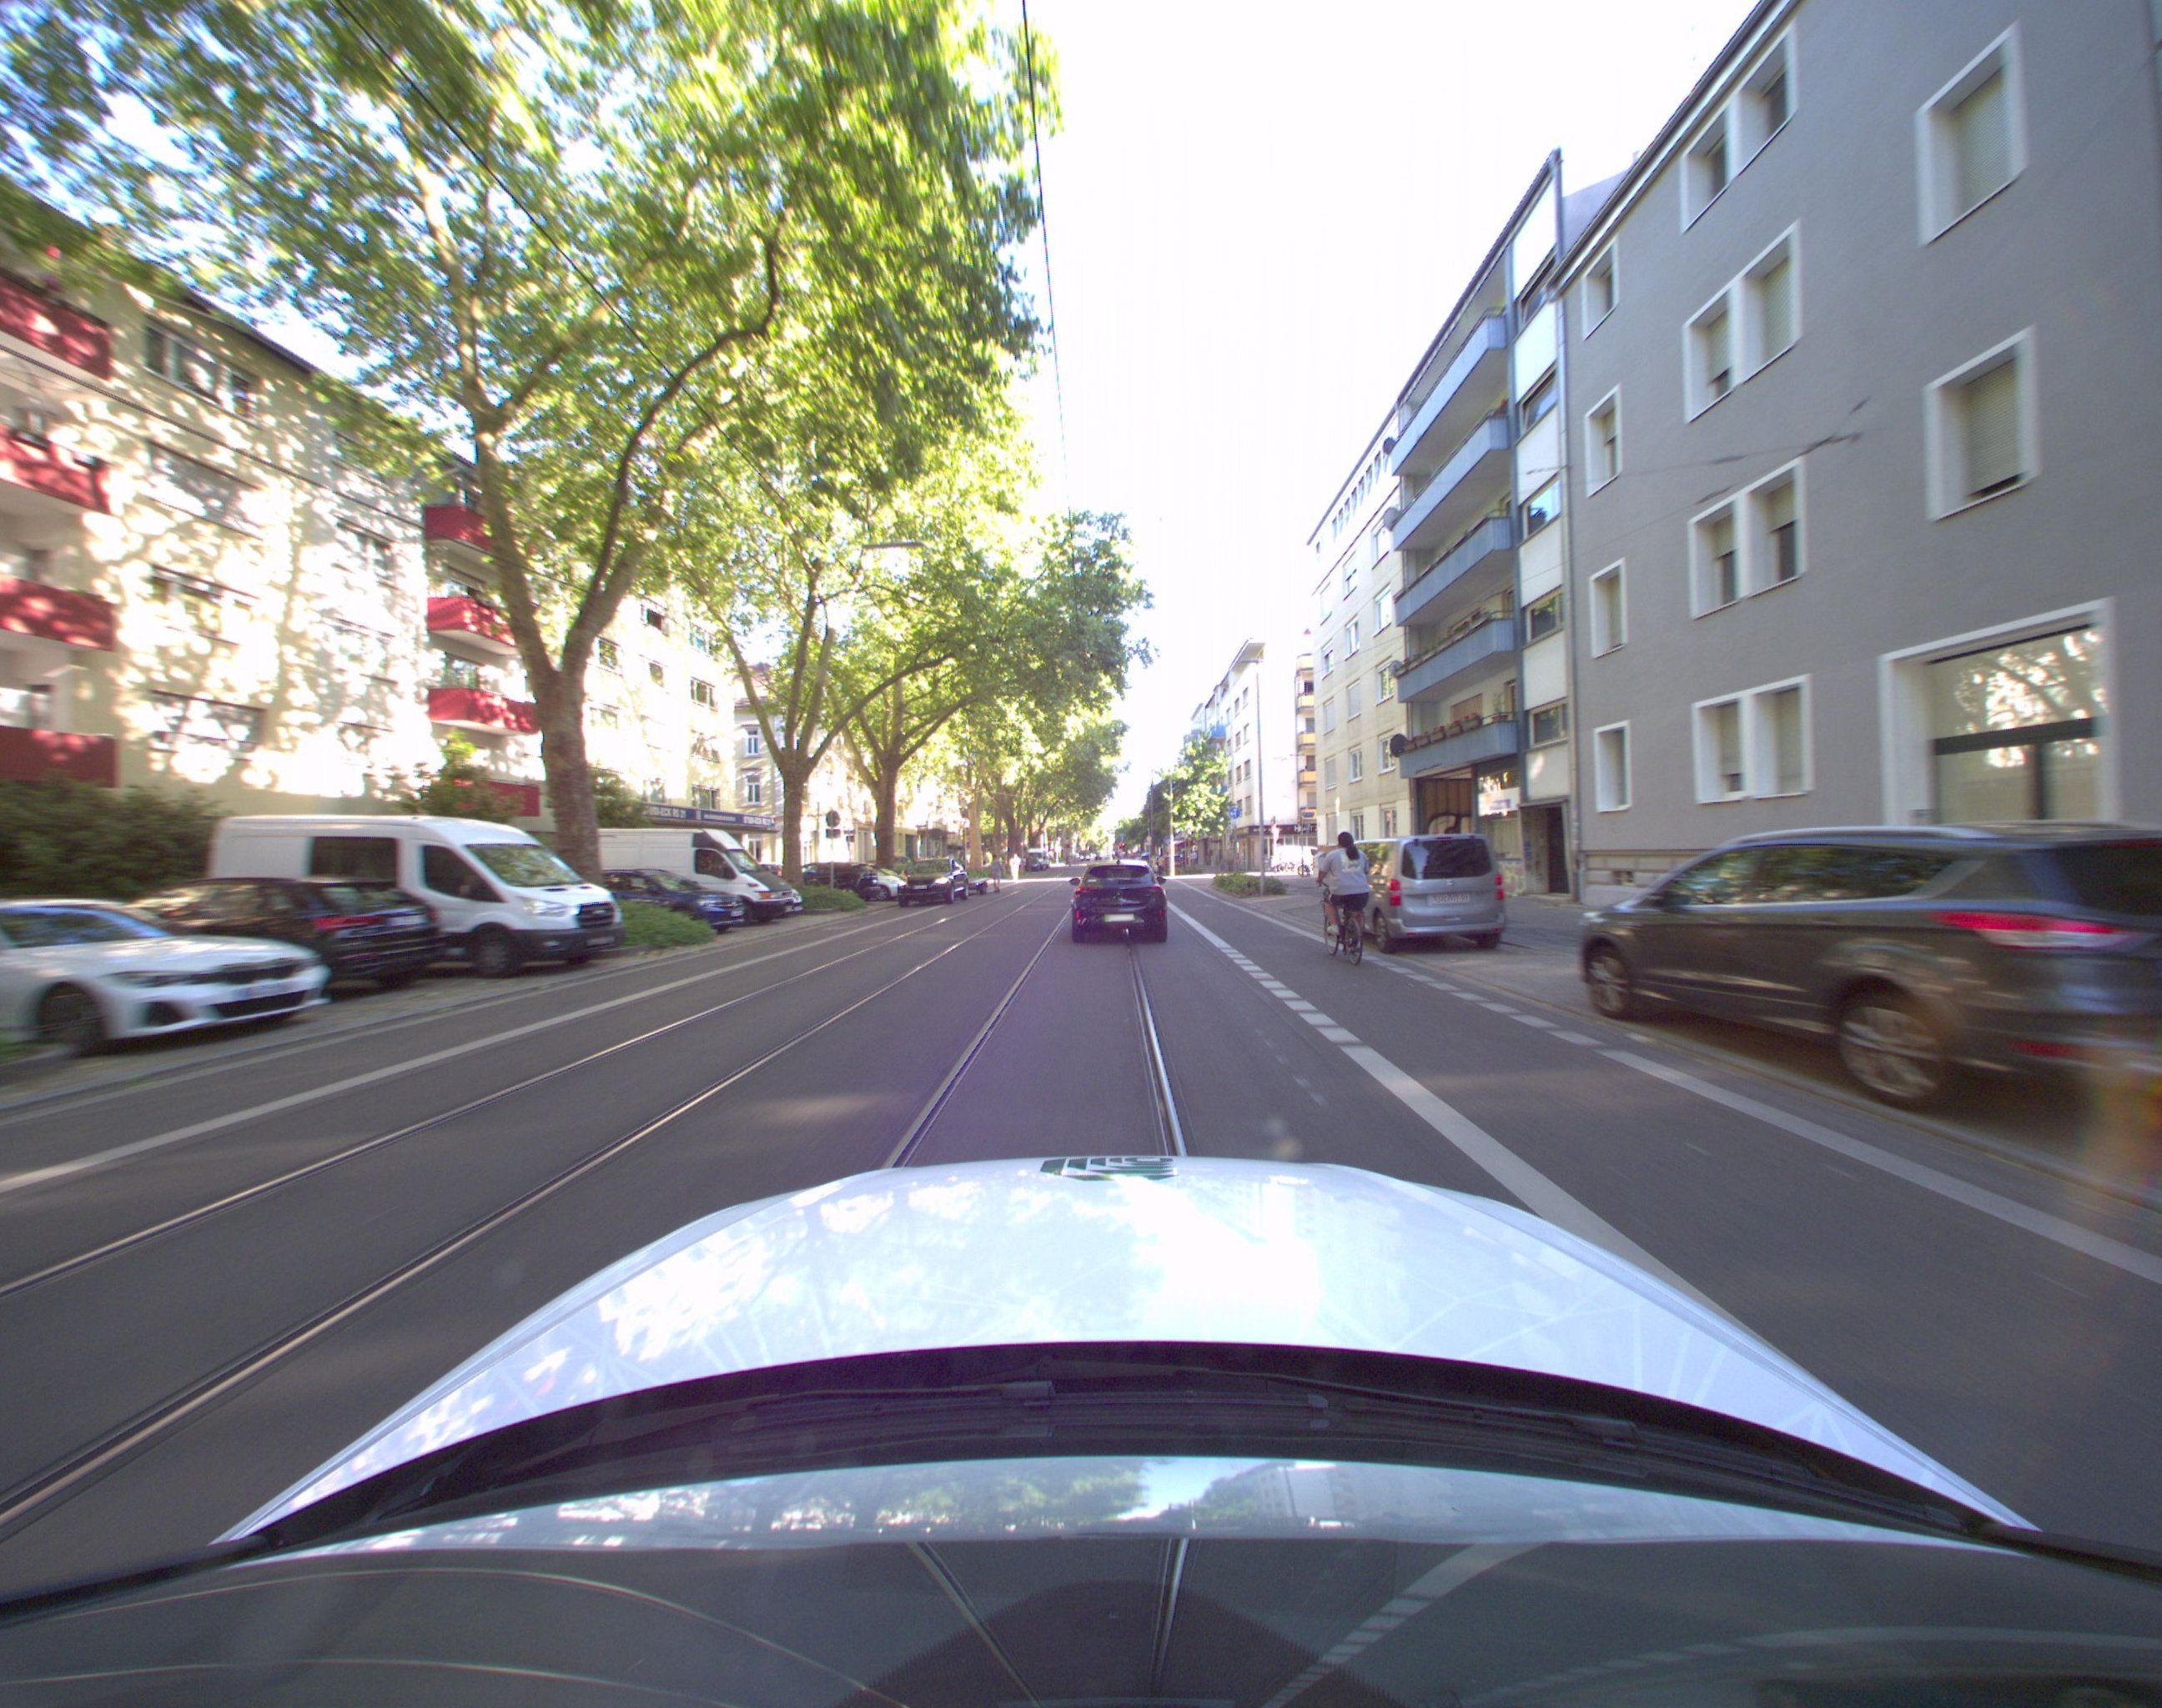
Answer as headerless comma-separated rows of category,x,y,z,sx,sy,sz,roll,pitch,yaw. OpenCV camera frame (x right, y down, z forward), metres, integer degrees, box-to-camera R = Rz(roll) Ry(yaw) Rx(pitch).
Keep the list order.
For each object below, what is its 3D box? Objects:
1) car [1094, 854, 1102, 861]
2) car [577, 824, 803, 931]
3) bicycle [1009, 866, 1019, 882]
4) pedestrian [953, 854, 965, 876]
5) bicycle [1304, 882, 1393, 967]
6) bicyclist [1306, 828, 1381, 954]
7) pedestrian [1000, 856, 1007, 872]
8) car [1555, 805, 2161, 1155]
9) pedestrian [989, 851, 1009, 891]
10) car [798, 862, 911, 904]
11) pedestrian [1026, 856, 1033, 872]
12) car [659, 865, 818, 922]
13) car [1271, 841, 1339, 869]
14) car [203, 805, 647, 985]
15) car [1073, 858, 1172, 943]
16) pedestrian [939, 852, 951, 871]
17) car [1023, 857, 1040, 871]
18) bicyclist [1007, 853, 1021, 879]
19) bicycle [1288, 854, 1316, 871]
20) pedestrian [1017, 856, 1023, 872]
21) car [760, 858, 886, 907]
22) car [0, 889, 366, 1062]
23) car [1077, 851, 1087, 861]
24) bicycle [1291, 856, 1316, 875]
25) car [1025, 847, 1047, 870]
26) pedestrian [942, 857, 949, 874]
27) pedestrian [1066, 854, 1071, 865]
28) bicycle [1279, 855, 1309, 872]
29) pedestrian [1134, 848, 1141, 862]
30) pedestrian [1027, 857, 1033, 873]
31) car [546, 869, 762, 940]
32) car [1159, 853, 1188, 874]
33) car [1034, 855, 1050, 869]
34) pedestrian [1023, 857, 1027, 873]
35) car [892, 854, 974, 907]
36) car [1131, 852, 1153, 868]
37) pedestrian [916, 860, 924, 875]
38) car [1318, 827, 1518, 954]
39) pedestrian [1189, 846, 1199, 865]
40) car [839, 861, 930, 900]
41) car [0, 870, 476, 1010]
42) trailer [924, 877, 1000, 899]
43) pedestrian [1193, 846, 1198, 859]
car,4.220,0.770,199.062,1.742,1.651,4.004,-2,0,4
car,-10.253,0.586,21.681,4.930,2.567,2.081,-2,0,-2
bicycle,-4.489,1.326,54.718,0.518,0.962,1.929,-2,0,0
pedestrian,-10.496,0.929,69.879,0.903,1.869,0.643,-2,0,-4
bicycle,3.877,0.983,11.973,0.698,1.092,1.991,0,-1,2
bicyclist,3.852,0.528,12.004,0.784,1.759,0.915,-1,-1,1
pedestrian,-7.728,1.013,81.300,0.507,1.583,0.524,-1,0,-15
car,5.694,0.602,6.152,1.760,1.705,4.284,-2,0,1
pedestrian,-3.734,0.766,36.948,0.712,1.735,0.909,-3,0,-12
car,-9.060,1.132,32.799,3.973,1.522,1.771,-2,0,0
pedestrian,-5.177,1.041,81.645,0.681,1.583,0.557,-2,0,0
car,-10.060,1.148,24.132,3.841,1.478,1.860,-2,0,0
car,16.125,0.077,58.730,4.347,1.831,1.998,-2,0,-2
car,-10.126,0.599,12.892,5.339,2.477,2.058,-2,0,2
car,0.748,0.787,15.510,1.673,1.422,3.629,0,0,1
pedestrian,-11.599,0.626,69.434,0.845,1.632,0.643,-2,0,-4
car,-5.481,1.076,90.538,1.749,1.508,3.998,-2,0,-1
bicyclist,-4.492,0.812,54.699,0.782,1.678,0.957,-2,0,-1
bicycle,14.759,0.573,54.488,1.759,1.117,0.616,-2,0,15
pedestrian,-6.058,0.981,80.927,0.505,1.583,0.526,-2,0,-2
car,-9.462,1.036,30.123,3.973,1.647,1.894,-2,0,0
car,-10.103,1.125,8.022,4.393,1.384,1.934,-1,0,1
car,0.294,0.444,186.069,1.988,2.211,5.098,-2,0,-2
bicycle,12.784,0.640,46.852,0.801,1.015,1.966,-2,0,-3
car,-5.297,0.518,97.034,2.084,2.584,5.999,-2,0,2
pedestrian,-13.506,1.136,81.188,0.549,1.652,0.650,-2,0,5
pedestrian,-1.849,0.844,119.803,0.594,1.590,0.891,-2,0,-5
bicycle,14.510,0.633,55.506,1.827,1.117,0.704,-2,0,4
pedestrian,8.400,0.207,121.196,0.853,2.013,1.070,-6,-1,2
pedestrian,-5.027,1.113,81.013,0.505,1.583,0.527,-2,0,1
car,-9.860,1.142,19.027,4.003,1.466,1.873,-1,0,2
car,7.273,0.716,64.300,1.714,1.574,4.081,-2,0,-2
car,-5.120,0.997,107.511,1.989,1.717,3.995,-2,0,-4
pedestrian,-5.570,1.130,81.003,0.345,1.583,0.508,-2,0,0
car,-5.403,0.909,30.371,1.986,1.700,4.486,-3,0,2
car,6.629,0.622,88.739,1.988,1.640,3.997,-2,0,-2
pedestrian,-14.654,1.227,74.159,0.549,1.403,0.650,-2,0,5
car,5.849,0.550,14.887,1.850,1.890,4.929,-2,0,4
pedestrian,10.380,0.122,74.697,0.766,1.748,0.795,-2,0,-3
car,-8.324,1.113,34.745,3.421,1.530,1.786,-2,0,-2
car,-10.795,1.049,10.641,4.354,1.539,1.873,-1,0,1
trailer,-5.078,1.446,35.815,2.152,0.632,6.403,-2,0,2
pedestrian,14.771,-0.193,104.751,0.626,1.732,0.633,-2,0,8
